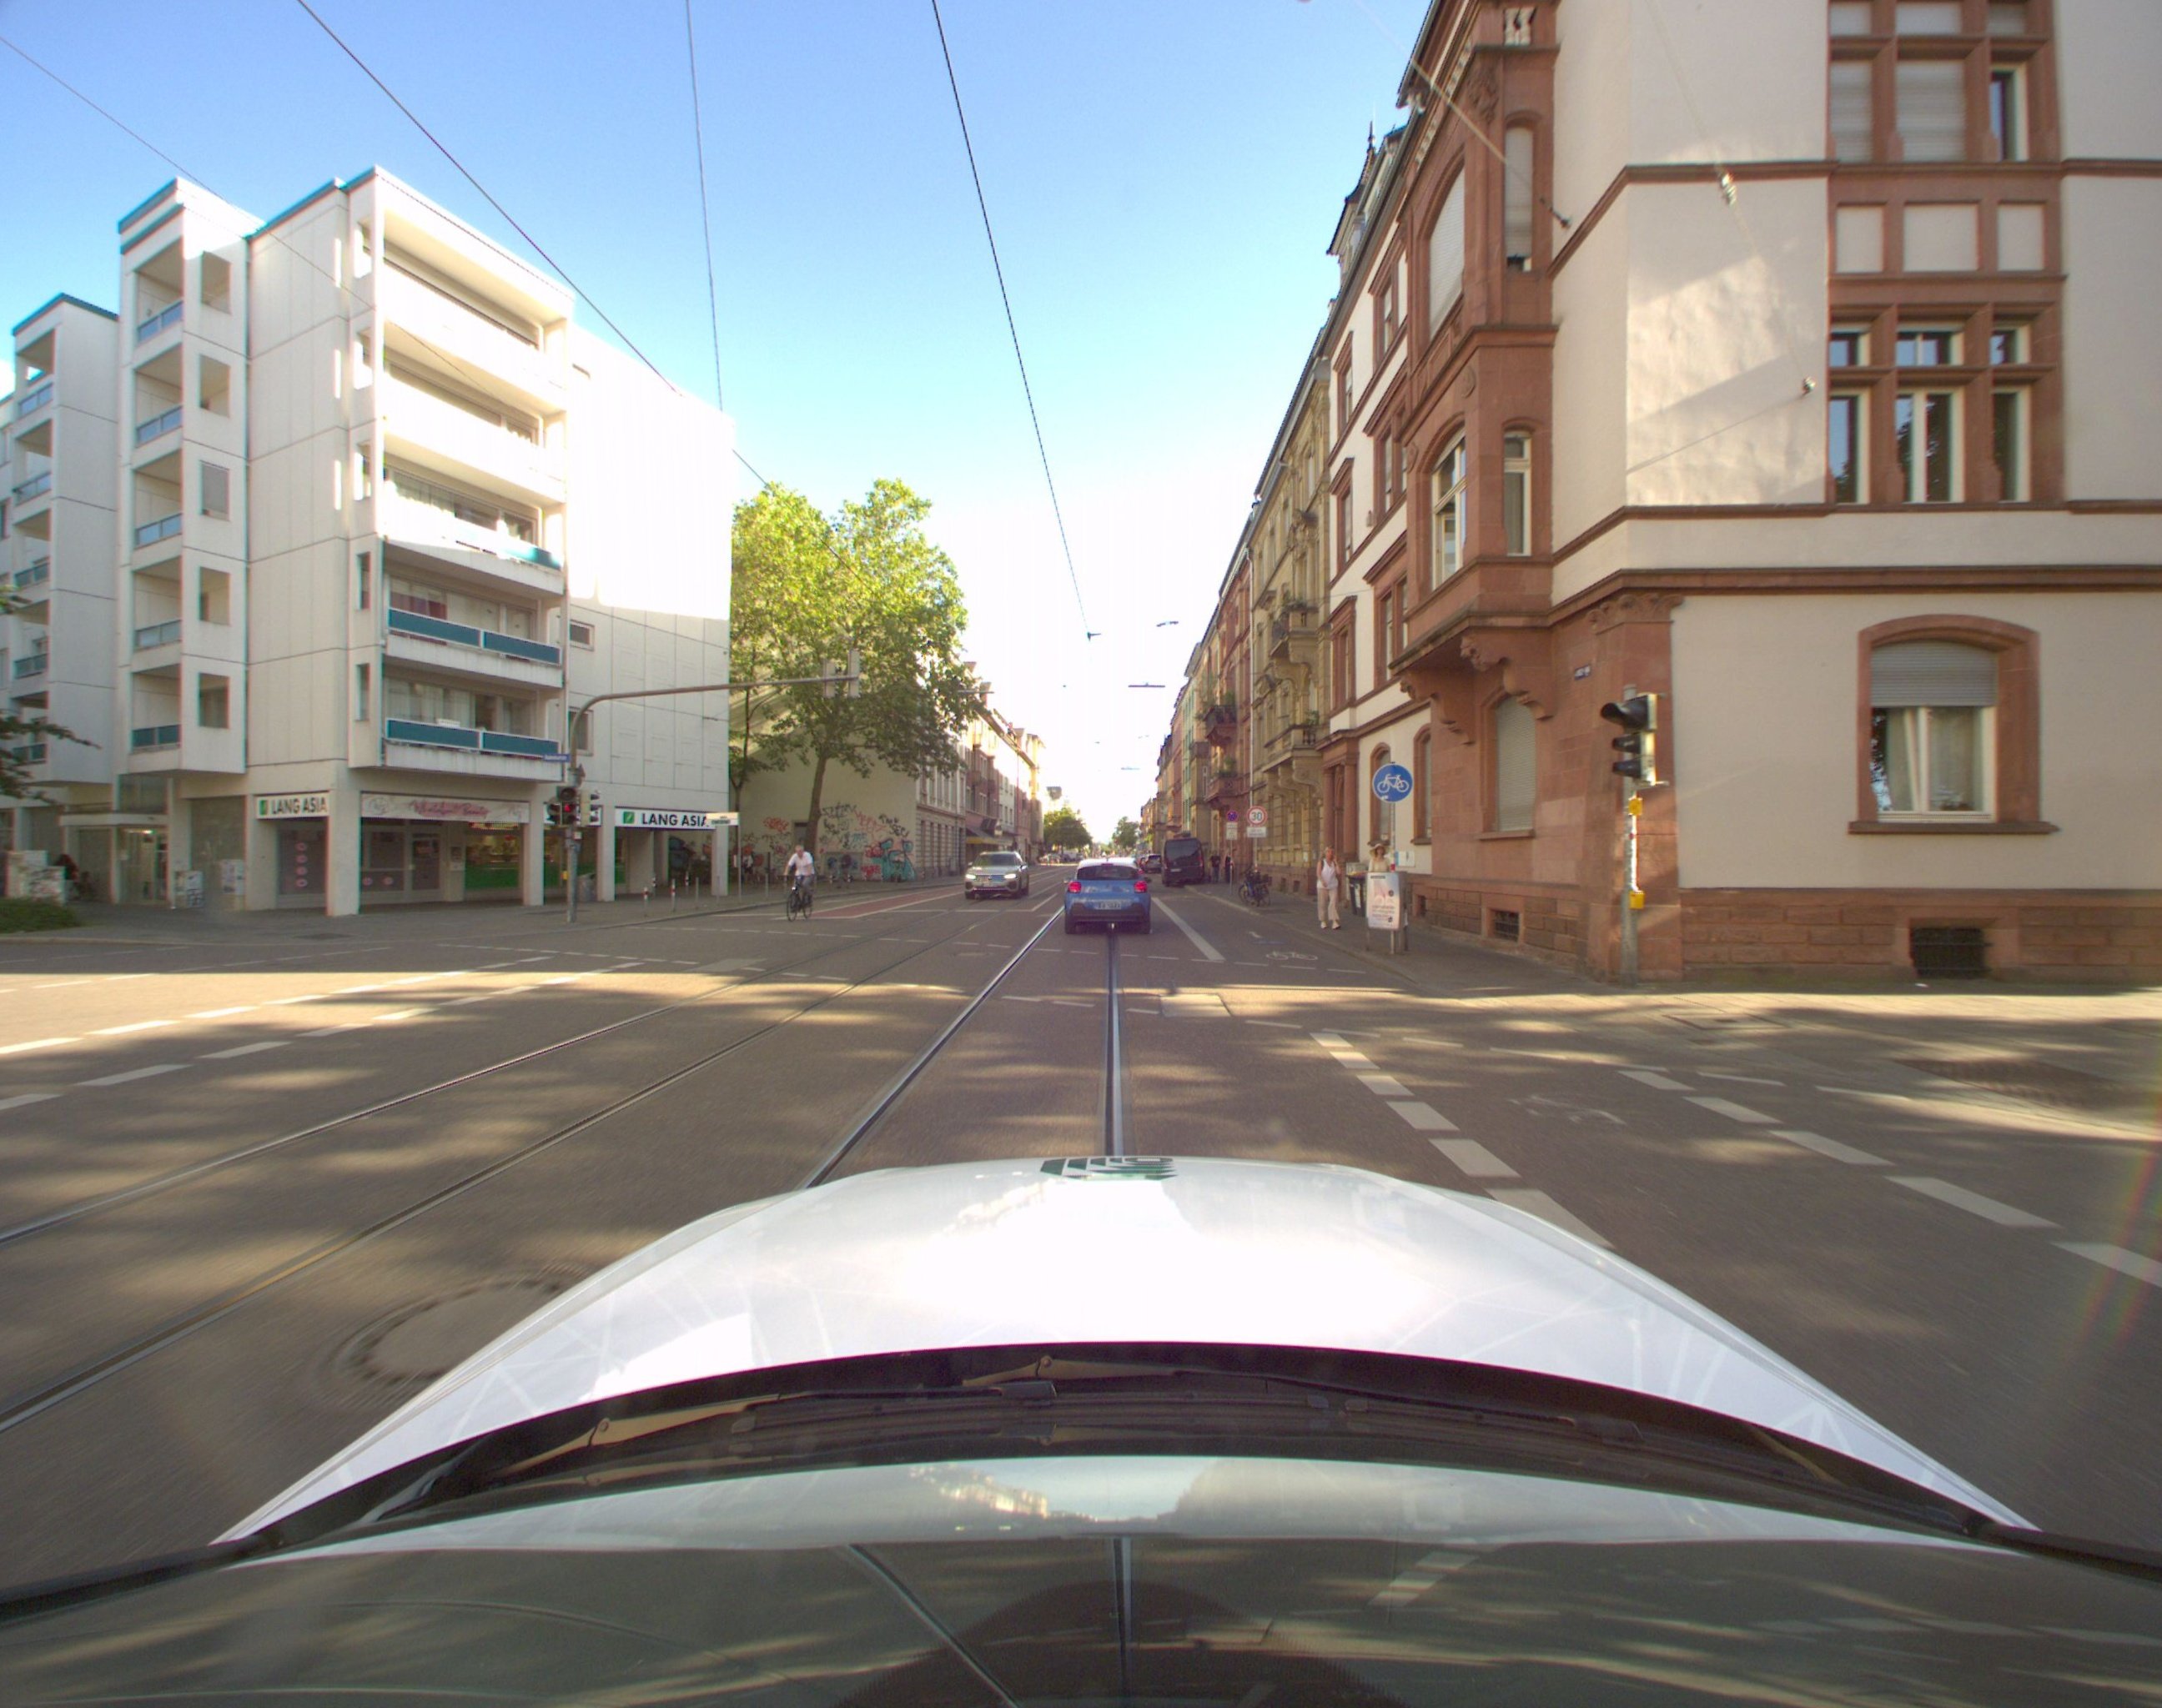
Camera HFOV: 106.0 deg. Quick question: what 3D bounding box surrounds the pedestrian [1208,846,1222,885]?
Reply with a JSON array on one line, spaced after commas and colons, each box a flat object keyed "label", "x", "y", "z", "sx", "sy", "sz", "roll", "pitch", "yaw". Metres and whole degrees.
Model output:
[{"label": "pedestrian", "x": 6.977, "y": 0.591, "z": 42.366, "sx": 0.583, "sy": 2.014, "sz": 0.823, "roll": 0, "pitch": 0, "yaw": 1}]

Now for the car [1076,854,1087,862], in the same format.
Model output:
[{"label": "car", "x": 0.121, "y": 0.803, "z": 160.933, "sx": 1.986, "sy": 1.651, "sz": 4.001, "roll": 0, "pitch": 0, "yaw": 1}]

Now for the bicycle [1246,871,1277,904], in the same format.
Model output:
[{"label": "bicycle", "x": 5.435, "y": 0.994, "z": 24.590, "sx": 0.430, "sy": 0.947, "sz": 1.760, "roll": 0, "pitch": 0, "yaw": -5}]

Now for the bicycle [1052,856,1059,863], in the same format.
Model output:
[{"label": "bicycle", "x": -4.305, "y": 0.865, "z": 137.083, "sx": 1.118, "sy": 1.146, "sz": 3.639, "roll": 0, "pitch": 0, "yaw": -3}]

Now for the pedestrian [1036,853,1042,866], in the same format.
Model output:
[{"label": "pedestrian", "x": -5.226, "y": 0.700, "z": 102.354, "sx": 0.683, "sy": 1.638, "sz": 0.675, "roll": 0, "pitch": 0, "yaw": 0}]

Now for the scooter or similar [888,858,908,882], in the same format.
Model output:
[{"label": "scooter or similar", "x": -10.160, "y": 0.871, "z": 45.217, "sx": 0.785, "sy": 1.271, "sz": 1.075, "roll": 2, "pitch": 1, "yaw": 1}]

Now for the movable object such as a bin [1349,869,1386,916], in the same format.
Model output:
[{"label": "movable object such as a bin", "x": 6.878, "y": 0.920, "z": 19.578, "sx": 0.663, "sy": 1.077, "sz": 0.571, "roll": -1, "pitch": 0, "yaw": 0}]

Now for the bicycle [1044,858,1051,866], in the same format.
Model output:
[{"label": "bicycle", "x": -5.645, "y": 1.392, "z": 136.981, "sx": 1.118, "sy": 1.319, "sz": 3.639, "roll": 0, "pitch": 0, "yaw": -3}]

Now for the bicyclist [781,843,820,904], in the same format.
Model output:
[{"label": "bicyclist", "x": -6.981, "y": 0.482, "z": 20.308, "sx": 0.680, "sy": 1.483, "sz": 0.778, "roll": 0, "pitch": 0, "yaw": 1}]

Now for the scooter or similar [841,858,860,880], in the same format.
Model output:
[{"label": "scooter or similar", "x": -12.667, "y": 0.818, "z": 44.798, "sx": 0.937, "sy": 1.222, "sz": 0.765, "roll": 0, "pitch": 0, "yaw": -11}]

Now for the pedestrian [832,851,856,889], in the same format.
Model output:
[{"label": "pedestrian", "x": -11.213, "y": 0.739, "z": 38.557, "sx": 0.678, "sy": 1.765, "sz": 1.029, "roll": 0, "pitch": 0, "yaw": 12}]

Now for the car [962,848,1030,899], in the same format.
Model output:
[{"label": "car", "x": -3.058, "y": 0.666, "z": 30.299, "sx": 1.987, "sy": 1.744, "sz": 4.563, "roll": 0, "pitch": 0, "yaw": 1}]

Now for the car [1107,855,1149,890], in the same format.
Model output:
[{"label": "car", "x": 2.036, "y": 0.787, "z": 36.147, "sx": 1.661, "sy": 1.478, "sz": 4.000, "roll": 0, "pitch": 0, "yaw": 1}]

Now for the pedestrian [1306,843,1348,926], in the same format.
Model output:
[{"label": "pedestrian", "x": 5.122, "y": 0.625, "z": 16.983, "sx": 0.626, "sy": 1.701, "sz": 0.681, "roll": 0, "pitch": 0, "yaw": -7}]

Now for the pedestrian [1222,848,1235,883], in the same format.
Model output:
[{"label": "pedestrian", "x": 7.554, "y": 0.571, "z": 41.646, "sx": 0.551, "sy": 1.782, "sz": 0.606, "roll": 0, "pitch": 0, "yaw": 0}]

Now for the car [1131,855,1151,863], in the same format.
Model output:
[{"label": "car", "x": 11.962, "y": 1.000, "z": 161.797, "sx": 3.824, "sy": 1.618, "sz": 1.791, "roll": 0, "pitch": 0, "yaw": -1}]

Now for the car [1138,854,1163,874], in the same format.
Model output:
[{"label": "car", "x": 6.139, "y": 0.841, "z": 72.255, "sx": 1.998, "sy": 1.672, "sz": 4.808, "roll": 0, "pitch": 0, "yaw": 2}]

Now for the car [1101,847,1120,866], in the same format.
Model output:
[{"label": "car", "x": 3.288, "y": 0.305, "z": 90.890, "sx": 1.986, "sy": 2.013, "sz": 4.000, "roll": 0, "pitch": 0, "yaw": 1}]

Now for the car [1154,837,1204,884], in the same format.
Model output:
[{"label": "car", "x": 5.340, "y": 0.335, "z": 44.972, "sx": 2.263, "sy": 2.437, "sz": 5.722, "roll": 0, "pitch": 0, "yaw": 2}]

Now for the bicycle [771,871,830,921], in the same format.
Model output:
[{"label": "bicycle", "x": -6.962, "y": 1.023, "z": 20.331, "sx": 0.690, "sy": 1.120, "sz": 2.084, "roll": -2, "pitch": 0, "yaw": 1}]

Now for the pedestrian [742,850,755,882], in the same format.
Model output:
[{"label": "pedestrian", "x": -17.898, "y": 0.663, "z": 43.824, "sx": 0.454, "sy": 1.718, "sz": 0.547, "roll": 0, "pitch": 0, "yaw": 1}]

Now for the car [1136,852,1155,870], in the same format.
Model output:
[{"label": "car", "x": 7.575, "y": 0.780, "z": 96.074, "sx": 1.998, "sy": 1.671, "sz": 4.396, "roll": -1, "pitch": 5, "yaw": 2}]

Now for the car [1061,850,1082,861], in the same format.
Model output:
[{"label": "car", "x": -2.103, "y": 0.375, "z": 186.432, "sx": 4.328, "sy": 2.581, "sz": 2.192, "roll": -1, "pitch": 0, "yaw": -24}]

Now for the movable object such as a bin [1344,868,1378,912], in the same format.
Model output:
[{"label": "movable object such as a bin", "x": 6.946, "y": 0.887, "z": 20.234, "sx": 0.663, "sy": 1.077, "sz": 0.571, "roll": -1, "pitch": 0, "yaw": 0}]

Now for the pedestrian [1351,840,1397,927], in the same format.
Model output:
[{"label": "pedestrian", "x": 6.090, "y": 0.602, "z": 16.976, "sx": 0.703, "sy": 1.782, "sz": 0.673, "roll": -1, "pitch": 0, "yaw": 0}]

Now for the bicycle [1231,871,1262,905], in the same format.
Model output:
[{"label": "bicycle", "x": 4.983, "y": 1.002, "z": 24.541, "sx": 0.430, "sy": 0.947, "sz": 1.760, "roll": 0, "pitch": 0, "yaw": -5}]

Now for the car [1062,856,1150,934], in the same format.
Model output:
[{"label": "car", "x": 0.479, "y": 0.786, "z": 17.439, "sx": 1.668, "sy": 1.477, "sz": 3.999, "roll": 0, "pitch": 0, "yaw": 0}]

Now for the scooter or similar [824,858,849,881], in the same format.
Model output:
[{"label": "scooter or similar", "x": -13.134, "y": 0.830, "z": 43.807, "sx": 1.228, "sy": 1.258, "sz": 0.765, "roll": 0, "pitch": 0, "yaw": -11}]

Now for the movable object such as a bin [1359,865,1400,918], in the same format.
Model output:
[{"label": "movable object such as a bin", "x": 6.953, "y": 0.868, "z": 19.005, "sx": 0.663, "sy": 1.153, "sz": 0.594, "roll": -4, "pitch": 0, "yaw": 0}]

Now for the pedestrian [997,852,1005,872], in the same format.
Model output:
[{"label": "pedestrian", "x": -7.050, "y": 0.706, "z": 71.807, "sx": 0.708, "sy": 1.764, "sz": 0.570, "roll": 0, "pitch": 0, "yaw": 0}]

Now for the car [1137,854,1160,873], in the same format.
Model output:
[{"label": "car", "x": 6.352, "y": 0.862, "z": 77.264, "sx": 1.899, "sy": 1.757, "sz": 4.001, "roll": 0, "pitch": 0, "yaw": 1}]

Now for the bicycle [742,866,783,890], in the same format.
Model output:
[{"label": "bicycle", "x": -14.636, "y": 1.096, "z": 37.435, "sx": 1.898, "sy": 1.034, "sz": 0.669, "roll": 0, "pitch": 0, "yaw": 28}]
